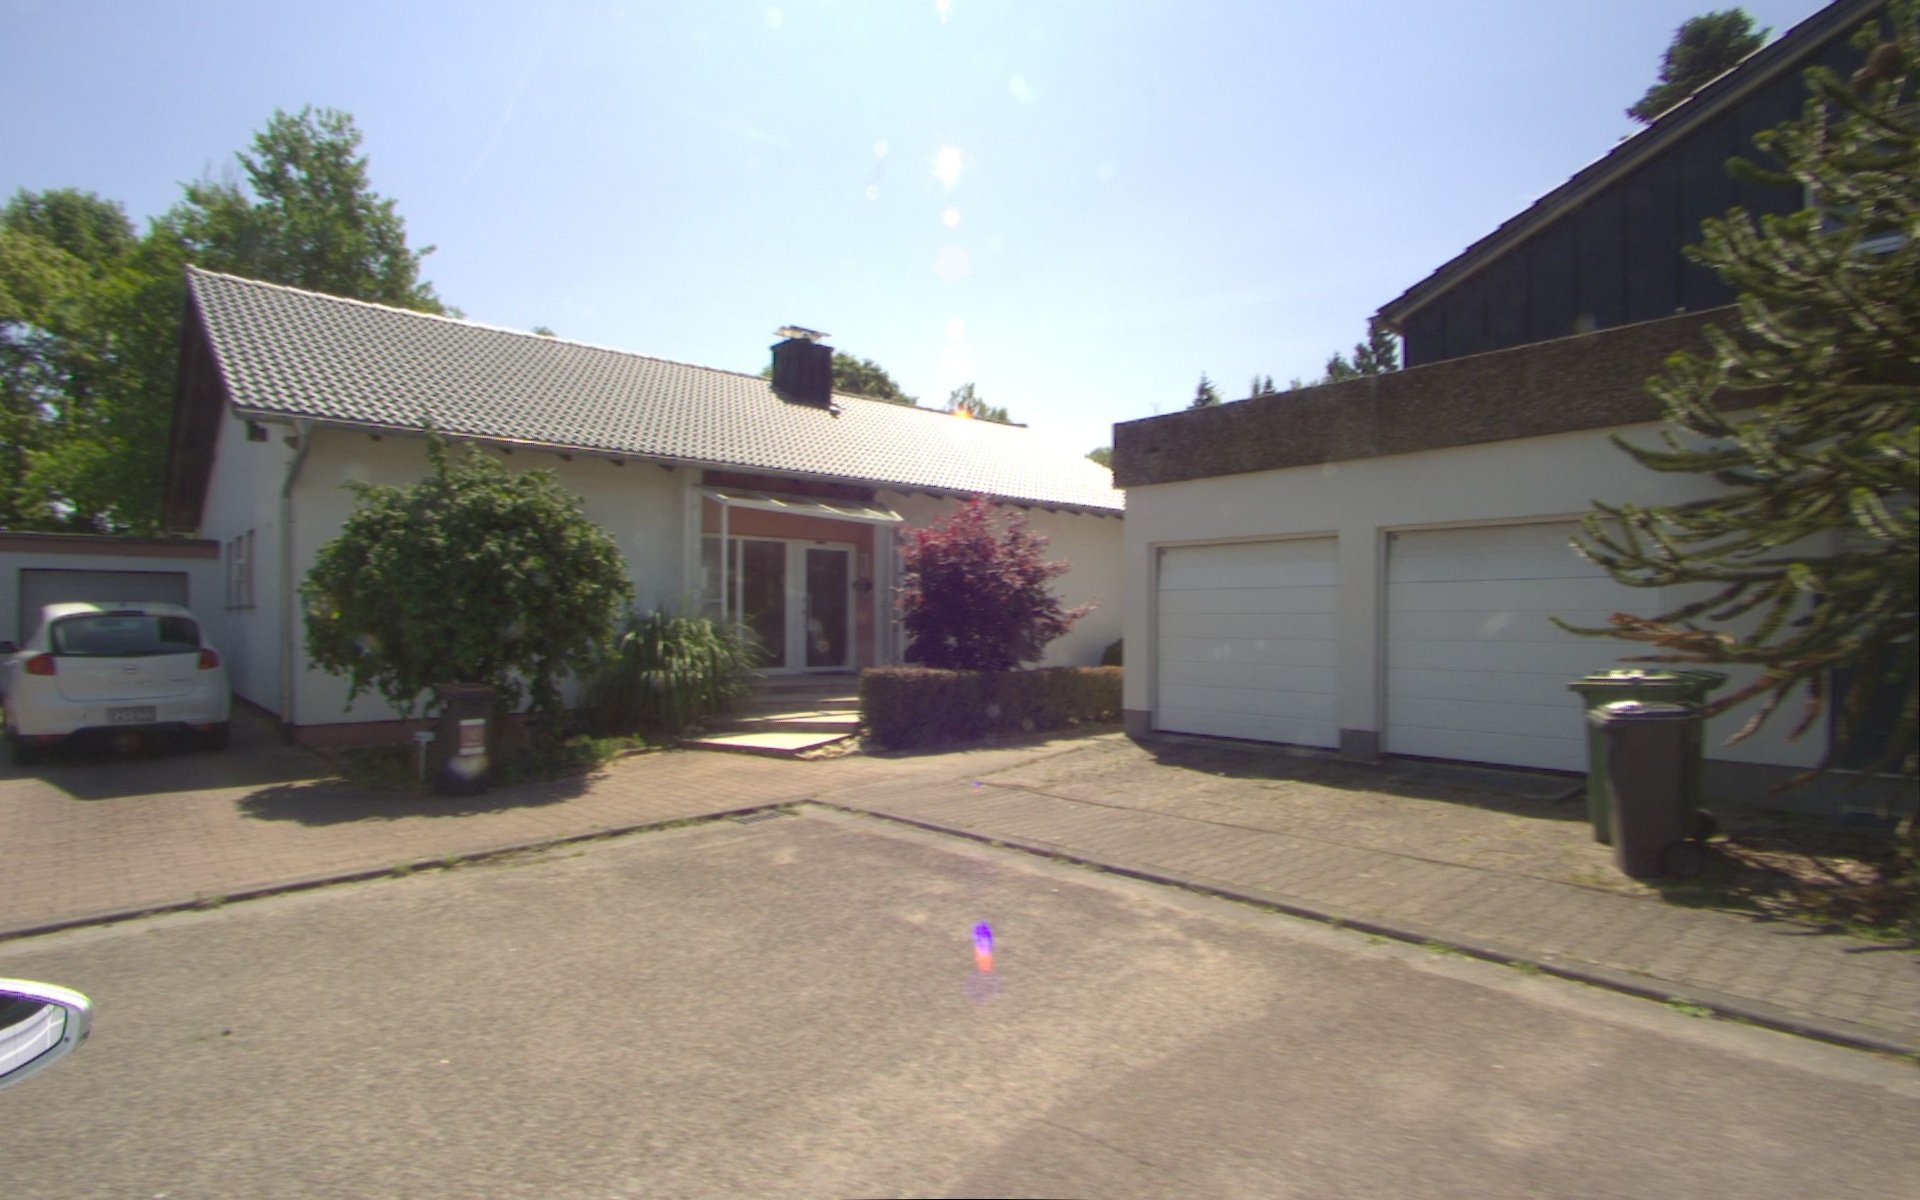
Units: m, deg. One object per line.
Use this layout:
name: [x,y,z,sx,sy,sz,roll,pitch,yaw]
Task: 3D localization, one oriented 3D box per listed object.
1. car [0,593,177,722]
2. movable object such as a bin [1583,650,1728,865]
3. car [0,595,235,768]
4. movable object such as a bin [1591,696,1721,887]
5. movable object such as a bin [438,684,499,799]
car: [-12.835,0.730,14.709,1.908,1.629,3.964,0,0,-41]
movable object such as a bin: [4.316,0.934,6.219,0.545,1.219,0.628,1,-1,-41]
car: [-9.553,0.779,11.239,1.736,1.589,3.960,1,-1,-44]
movable object such as a bin: [3.842,1.033,5.554,0.515,0.962,0.388,0,0,22]
movable object such as a bin: [-4.168,1.182,8.485,0.371,0.903,0.387,0,0,-42]
